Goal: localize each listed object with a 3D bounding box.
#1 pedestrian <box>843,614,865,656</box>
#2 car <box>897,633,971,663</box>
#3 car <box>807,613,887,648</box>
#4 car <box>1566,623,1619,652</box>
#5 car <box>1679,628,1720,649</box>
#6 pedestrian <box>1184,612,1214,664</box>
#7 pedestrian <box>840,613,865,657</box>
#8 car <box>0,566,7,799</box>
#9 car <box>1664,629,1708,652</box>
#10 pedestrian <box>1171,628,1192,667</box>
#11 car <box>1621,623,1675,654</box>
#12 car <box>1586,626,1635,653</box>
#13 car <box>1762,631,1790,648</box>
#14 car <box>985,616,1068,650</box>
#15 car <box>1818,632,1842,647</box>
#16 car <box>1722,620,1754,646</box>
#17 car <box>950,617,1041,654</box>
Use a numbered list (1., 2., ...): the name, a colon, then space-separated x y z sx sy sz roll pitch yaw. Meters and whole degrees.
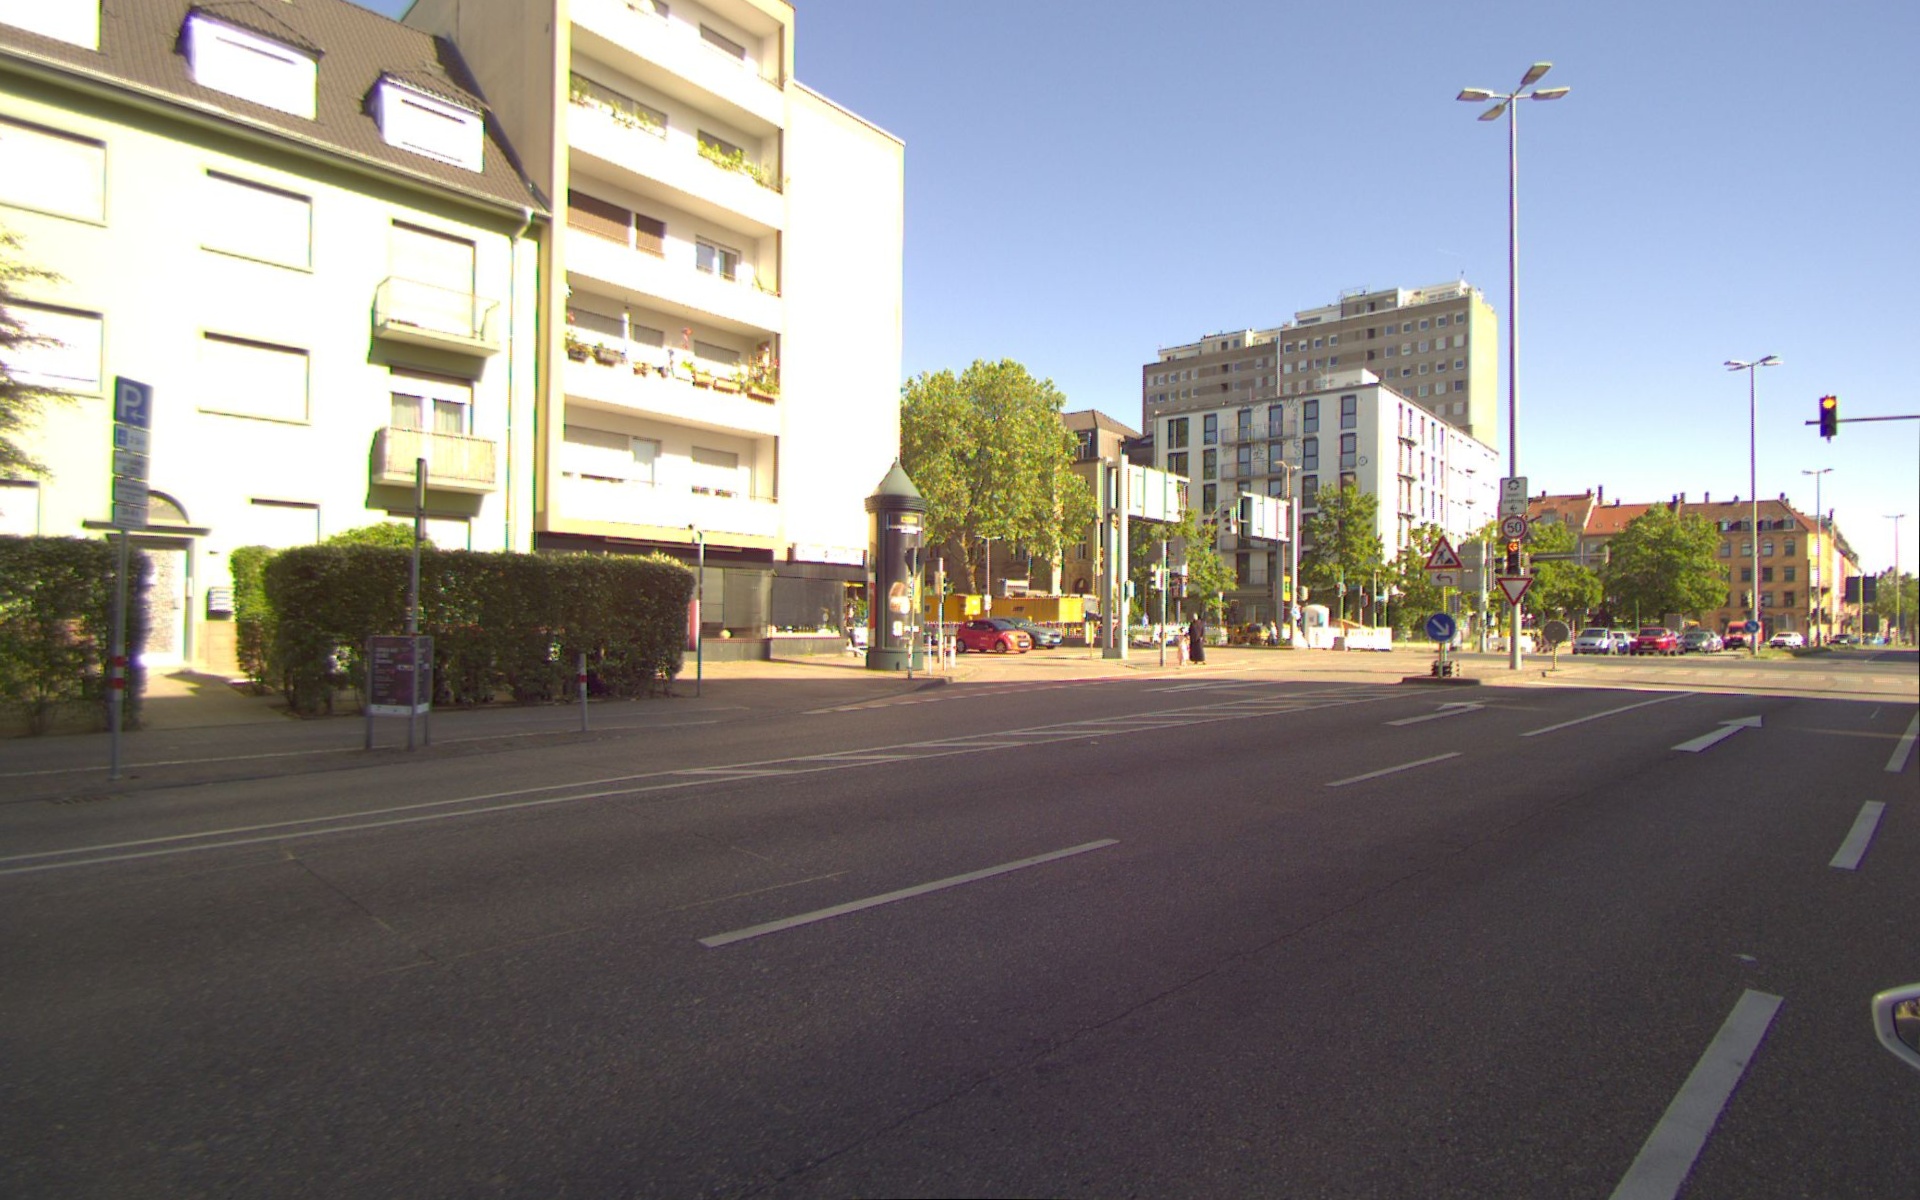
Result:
1. pedestrian: -4.079 1.344 38.647 0.677 1.631 0.550 0 -1 19
2. car: -1.364 2.492 52.542 3.598 1.474 1.836 -2 -2 42
3. car: -5.077 1.360 44.790 3.599 1.535 1.605 -2 -2 43
4. car: 37.309 2.186 59.194 1.855 1.638 3.975 -1 -1 44
5. car: 52.992 2.728 71.983 1.855 1.467 3.975 -1 -1 44
6. pedestrian: 7.730 1.219 32.508 0.815 1.671 0.676 0 -1 1
7. pedestrian: -4.049 1.313 37.818 0.786 1.649 0.550 0 -1 19
8. car: -9.833 0.622 6.987 1.799 1.858 4.537 0 -1 42
9. car: 49.119 2.730 67.908 1.855 1.467 3.975 -1 -1 44
10. pedestrian: 6.982 1.487 31.676 0.650 1.181 0.677 0 -1 12
11. car: 38.239 2.103 55.800 1.773 1.638 3.974 -1 -1 45
12. car: 41.377 2.503 63.855 1.855 1.638 3.975 -1 -1 44
13. car: 81.787 3.908 100.644 1.792 1.655 3.975 -1 -1 44
14. car: 3.162 1.572 47.920 3.598 1.535 1.836 -2 -2 42
15. car: 97.097 4.410 112.139 1.792 1.655 3.975 -1 -1 44
16. car: 67.677 2.832 87.357 1.792 2.163 3.975 -1 -1 44
17. car: 1.520 1.531 43.320 3.598 1.535 1.836 -2 -2 42
